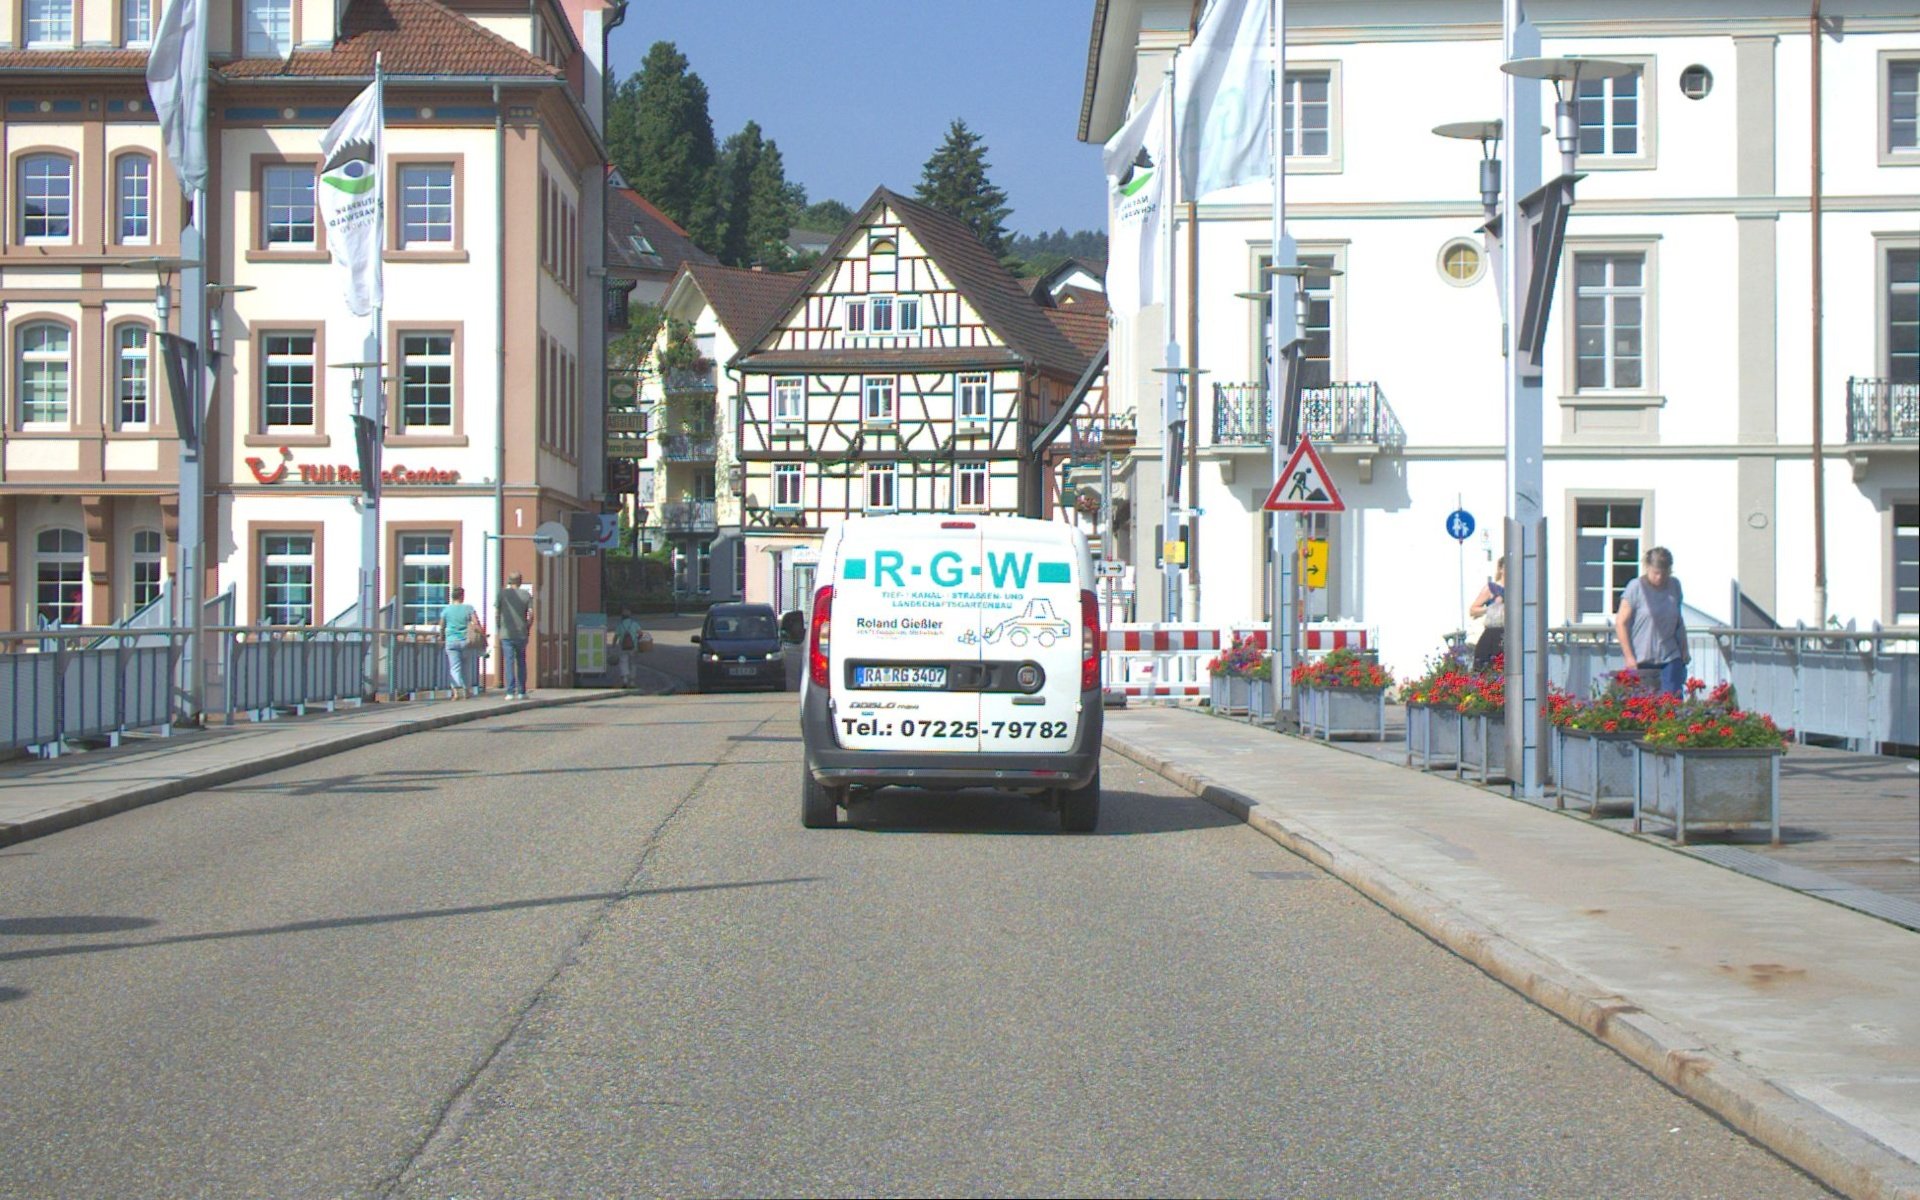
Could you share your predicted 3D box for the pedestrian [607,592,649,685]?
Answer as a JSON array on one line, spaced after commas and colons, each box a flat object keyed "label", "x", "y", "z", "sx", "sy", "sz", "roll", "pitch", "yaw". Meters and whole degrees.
[{"label": "pedestrian", "x": -6.622, "y": 0.762, "z": 68.533, "sx": 0.803, "sy": 1.851, "sz": 0.616, "roll": 0, "pitch": 1, "yaw": -2}]

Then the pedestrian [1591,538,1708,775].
[{"label": "pedestrian", "x": 4.748, "y": 0.382, "z": 23.704, "sx": 0.666, "sy": 1.613, "sz": 0.563, "roll": 0, "pitch": 1, "yaw": -2}]

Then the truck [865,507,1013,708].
[{"label": "truck", "x": -0.329, "y": 0.096, "z": 46.625, "sx": 1.861, "sy": 2.576, "sz": 4.260, "roll": 1, "pitch": 0, "yaw": -2}]

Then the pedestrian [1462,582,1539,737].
[{"label": "pedestrian", "x": 4.369, "y": 0.476, "z": 27.825, "sx": 0.451, "sy": 1.240, "sz": 0.626, "roll": 0, "pitch": 0, "yaw": -7}]

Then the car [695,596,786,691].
[{"label": "car", "x": -4.447, "y": 0.854, "z": 70.094, "sx": 1.776, "sy": 1.786, "sz": 4.697, "roll": 1, "pitch": 1, "yaw": -3}]

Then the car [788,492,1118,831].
[{"label": "car", "x": -0.121, "y": 0.351, "z": 21.609, "sx": 1.844, "sy": 1.900, "sz": 4.315, "roll": 1, "pitch": 0, "yaw": -2}]

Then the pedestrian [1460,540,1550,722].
[{"label": "pedestrian", "x": 5.222, "y": 0.288, "z": 32.954, "sx": 0.726, "sy": 1.717, "sz": 0.747, "roll": 1, "pitch": 1, "yaw": 0}]

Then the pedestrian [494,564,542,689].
[{"label": "pedestrian", "x": -6.288, "y": 0.367, "z": 48.904, "sx": 0.614, "sy": 1.756, "sz": 0.864, "roll": 1, "pitch": 1, "yaw": -10}]

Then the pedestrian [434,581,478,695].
[{"label": "pedestrian", "x": -7.176, "y": 0.539, "z": 48.924, "sx": 0.583, "sy": 1.604, "sz": 0.537, "roll": 1, "pitch": 1, "yaw": -10}]
